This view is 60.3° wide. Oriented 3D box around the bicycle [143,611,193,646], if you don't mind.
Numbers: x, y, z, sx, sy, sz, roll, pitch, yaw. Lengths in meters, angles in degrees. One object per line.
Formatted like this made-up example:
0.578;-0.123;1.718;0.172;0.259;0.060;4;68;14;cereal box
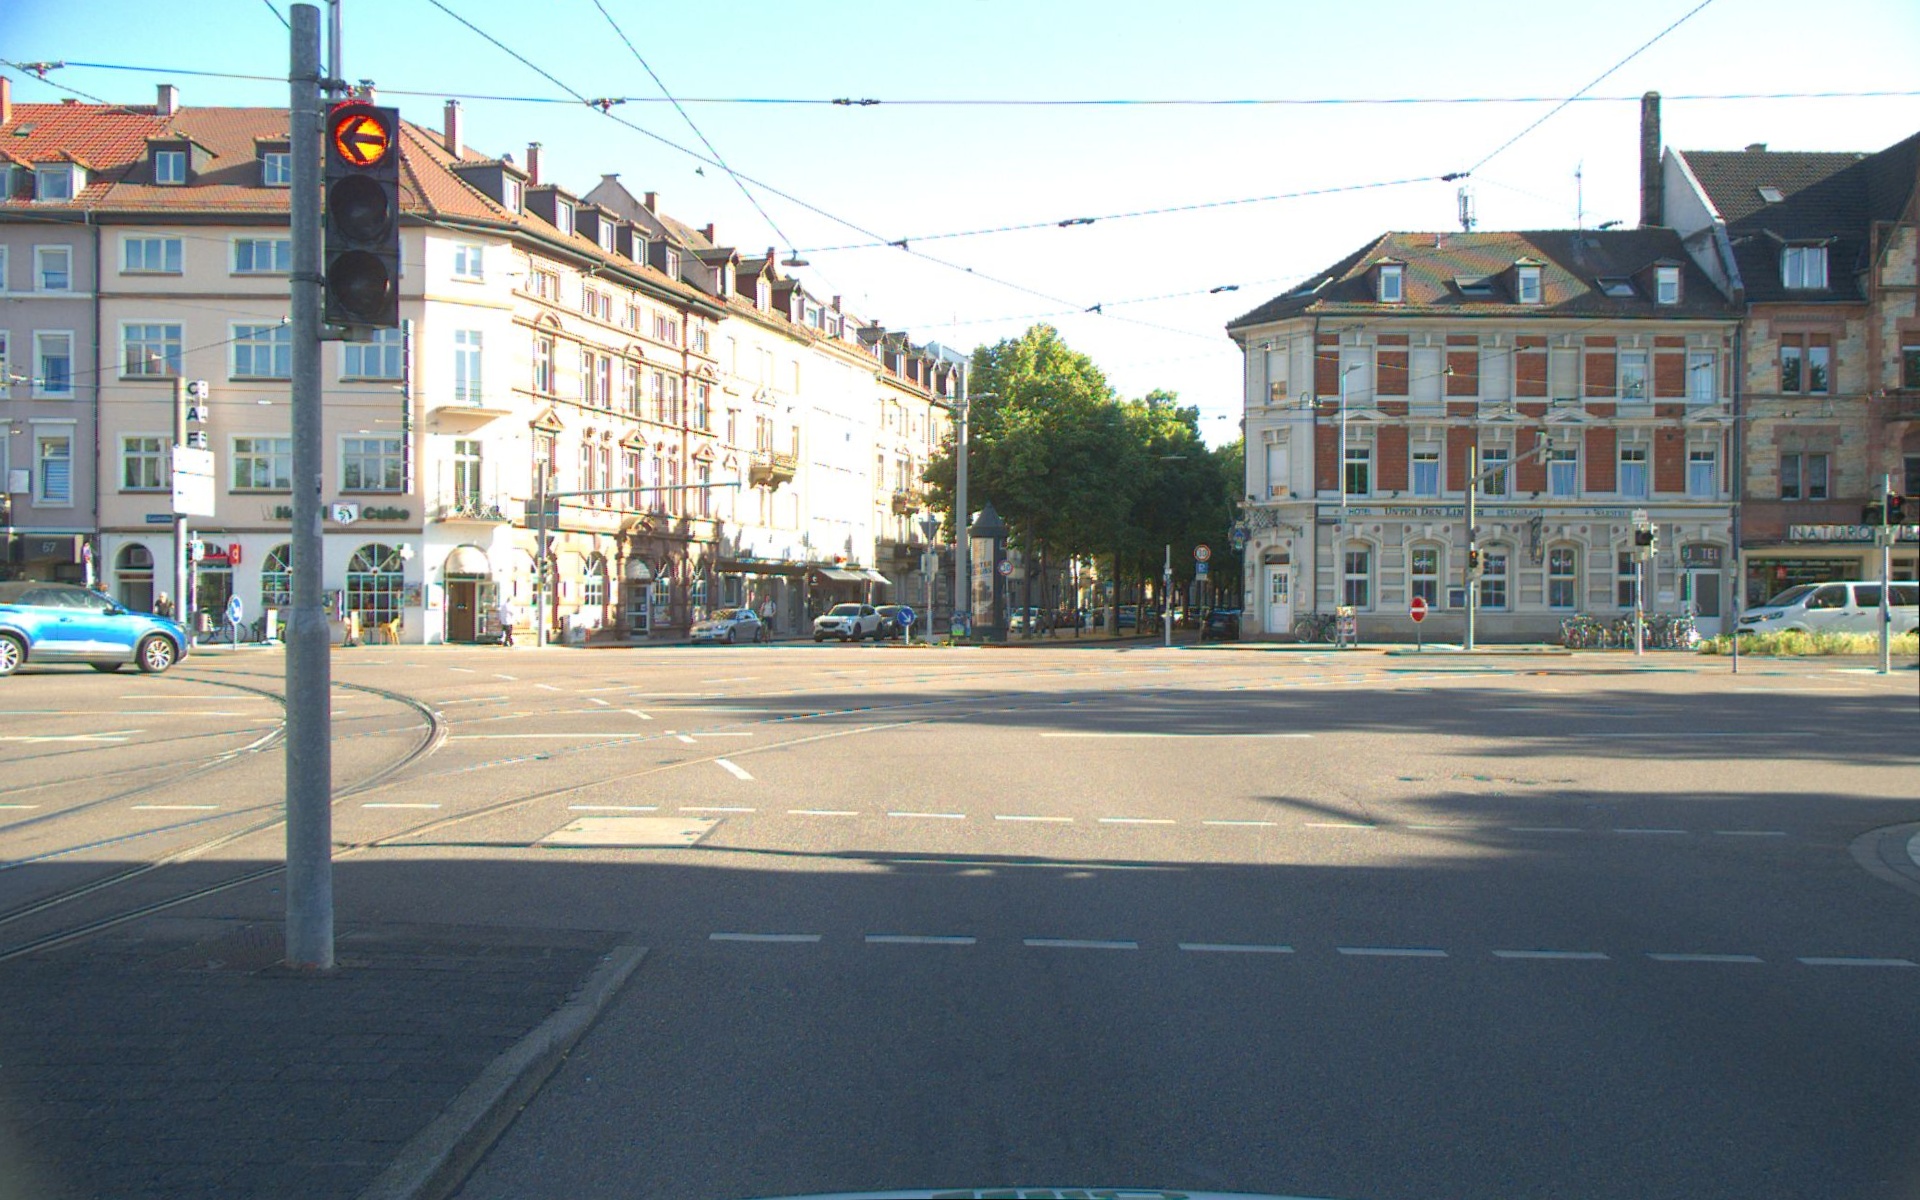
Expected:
-24.884;0.882;51.962;0.608;1.048;1.755;1;0;4;bicycle

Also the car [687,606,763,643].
-9.459;0.984;66.851;1.624;1.398;3.894;1;0;14;car

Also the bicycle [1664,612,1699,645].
23.321;0.901;53.482;0.775;1.033;2.211;1;0;17;bicycle

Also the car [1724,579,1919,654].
22.701;0.417;42.692;5.094;1.886;1.999;0;0;-2;car

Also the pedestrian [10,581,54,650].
-22.955;0.371;40.928;0.571;1.677;0.840;1;-1;-1;pedestrian

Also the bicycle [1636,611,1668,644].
22.434;0.887;53.646;0.749;1.025;2.221;1;0;17;bicycle

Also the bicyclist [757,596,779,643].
-7.546;0.777;65.004;0.553;1.835;0.915;1;-1;14;bicyclist

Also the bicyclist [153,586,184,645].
-24.875;0.482;51.993;0.608;1.822;0.615;1;-1;4;bicyclist

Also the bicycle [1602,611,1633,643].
21.343;0.881;53.703;0.749;1.001;2.211;1;0;17;bicycle

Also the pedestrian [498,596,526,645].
-15.461;0.695;57.061;0.556;1.671;0.792;1;-1;22;pedestrian

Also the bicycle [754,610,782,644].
-7.543;1.052;64.995;0.553;1.276;1.558;1;0;14;bicycle

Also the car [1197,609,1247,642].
13.120;1.270;82.681;1.719;1.583;4.001;1;0;20;car

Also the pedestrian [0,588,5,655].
-24.322;0.531;41.256;0.561;1.677;0.727;1;-1;-1;pedestrian

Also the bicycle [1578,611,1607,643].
20.564;0.868;53.795;0.749;0.985;2.211;1;0;17;bicycle

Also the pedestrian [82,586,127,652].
-21.222;0.464;41.025;0.655;1.622;0.815;1;-1;-1;pedestrian

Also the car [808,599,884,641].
-4.590;0.804;67.270;1.764;1.613;4.162;1;0;16;car

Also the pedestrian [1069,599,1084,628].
8.484;0.983;120.004;0.923;2.049;0.827;1;-1;13;pedestrian

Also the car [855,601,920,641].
-3.188;0.928;73.548;1.786;1.715;3.877;1;0;16;car

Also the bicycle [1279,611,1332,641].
11.982;0.902;57.285;1.764;0.979;0.604;1;0;14;bicycle

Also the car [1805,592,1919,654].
25.922;0.634;46.027;3.905;1.650;1.804;1;0;0;car

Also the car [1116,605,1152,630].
12.325;1.219;116.777;1.951;1.713;4.003;1;0;15;car

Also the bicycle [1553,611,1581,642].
19.810;0.856;54.032;0.749;0.979;2.211;1;0;17;bicycle

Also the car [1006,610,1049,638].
4.083;1.409;99.116;1.764;1.603;3.893;1;0;15;car

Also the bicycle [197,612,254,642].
-25.094;0.913;56.503;1.666;1.000;0.611;1;0;-1;bicycle

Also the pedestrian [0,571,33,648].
-22.902;0.230;40.033;0.516;1.854;0.676;1;-1;-1;pedestrian

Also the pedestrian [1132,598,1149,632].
11.160;0.924;102.397;0.941;2.049;0.918;1;-1;0;pedestrian

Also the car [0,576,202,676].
-15.383;0.412;28.178;1.793;1.602;4.186;1;0;34;car
